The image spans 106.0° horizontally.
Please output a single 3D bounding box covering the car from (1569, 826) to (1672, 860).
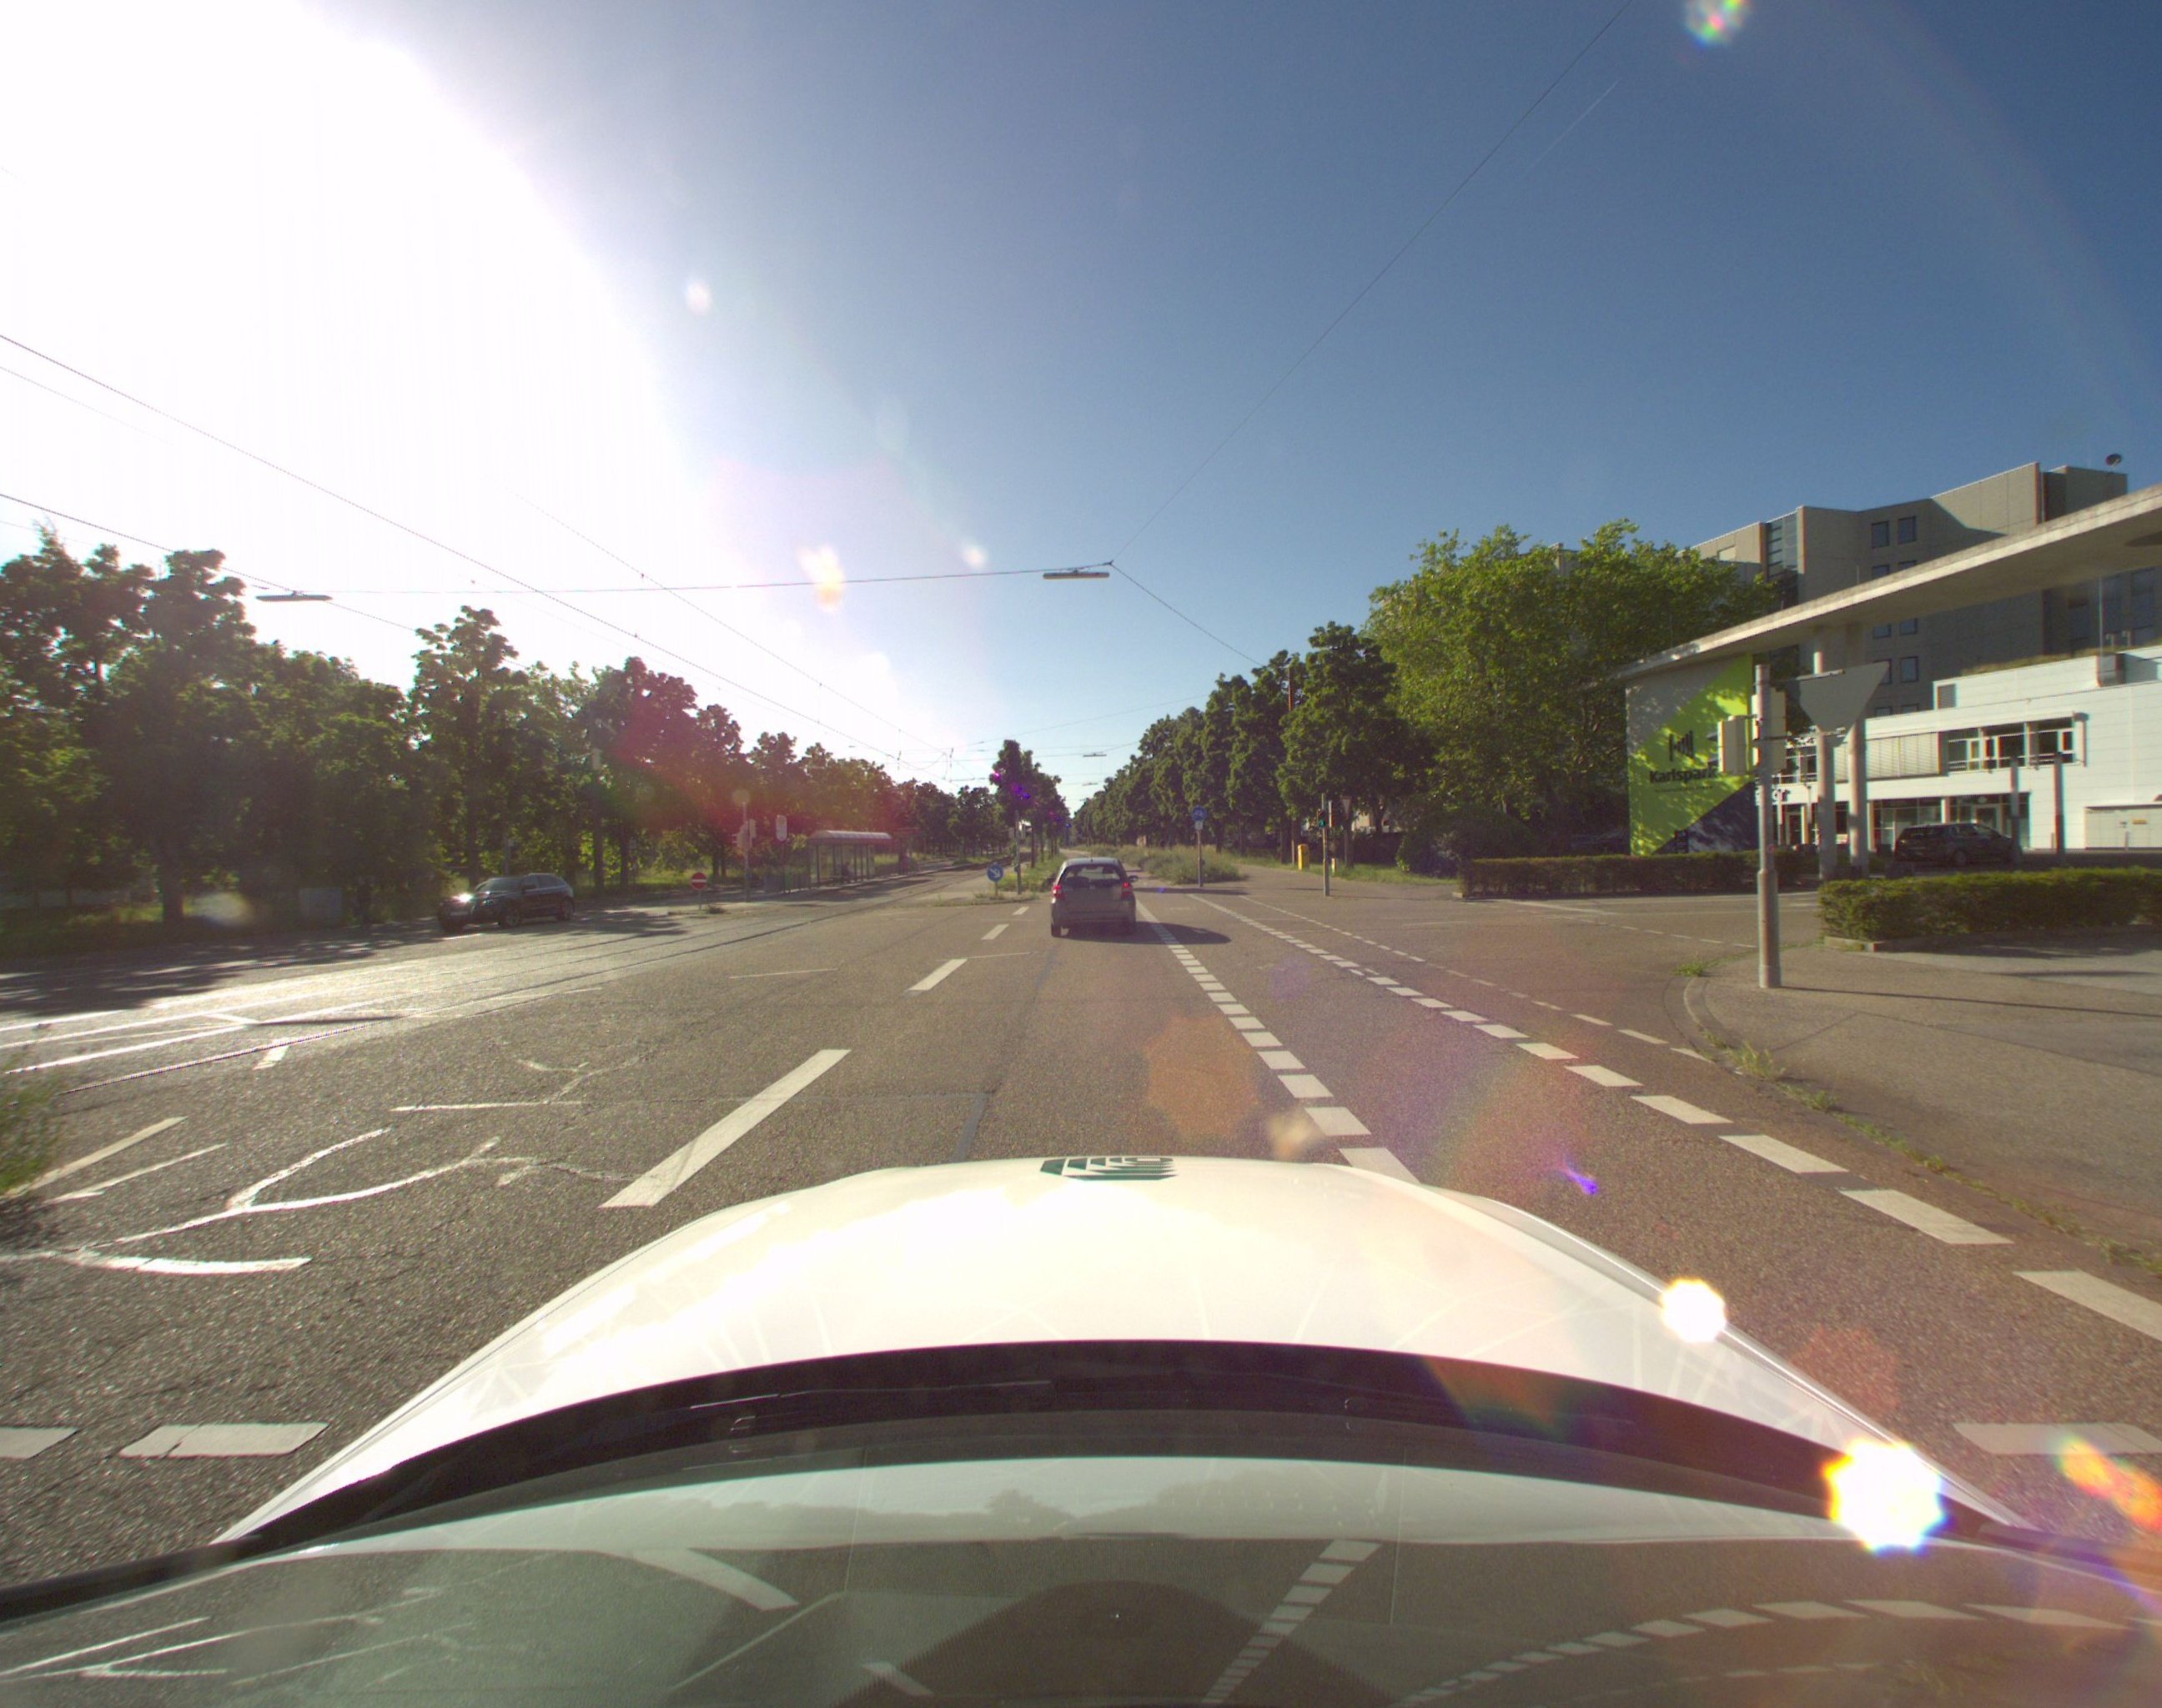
[{"bbox_3d":[29.491,-0.576,44.591,4.448,1.686,1.892,-2,0,-4],"label":"car"}]

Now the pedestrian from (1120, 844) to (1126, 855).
[{"bbox_3d":[6.685,-0.656,129.757,0.723,1.690,0.820,-2,-1,-1],"label":"pedestrian"}]

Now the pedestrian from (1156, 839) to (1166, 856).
[{"bbox_3d":[8.933,-0.722,90.728,0.880,1.884,0.875,-2,0,-2],"label":"pedestrian"}]

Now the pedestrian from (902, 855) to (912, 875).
[{"bbox_3d":[-13.016,0.833,61.001,0.542,1.447,0.559,-3,-1,1],"label":"pedestrian"}]

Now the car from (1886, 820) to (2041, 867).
[{"bbox_3d":[32.606,-0.392,30.141,3.984,1.578,1.949,-2,0,-8],"label":"car"}]

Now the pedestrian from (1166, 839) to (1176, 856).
[{"bbox_3d":[10.005,-0.741,90.731,0.880,1.884,0.875,-2,0,-2],"label":"pedestrian"}]

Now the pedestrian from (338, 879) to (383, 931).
[{"bbox_3d":[-25.418,1.792,28.746,0.751,1.734,0.943,-2,0,30],"label":"pedestrian"}]

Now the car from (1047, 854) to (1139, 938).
[{"bbox_3d":[0.282,0.803,17.048,1.694,1.524,3.710,-1,-1,2],"label":"car"}]

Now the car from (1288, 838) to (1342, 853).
[{"bbox_3d":[23.204,-0.817,80.866,4.625,1.327,2.105,-2,0,36],"label":"car"}]

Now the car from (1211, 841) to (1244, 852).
[{"bbox_3d":[22.430,-1.169,124.730,4.623,1.555,1.997,-2,0,-5],"label":"car"}]

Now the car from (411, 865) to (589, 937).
[{"bbox_3d":[-18.168,1.394,25.844,2.087,1.810,4.792,-4,1,0],"label":"car"}]

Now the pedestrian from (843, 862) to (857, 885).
[{"bbox_3d":[-13.173,1.088,46.429,0.562,1.257,0.581,-4,-1,0],"label":"pedestrian"}]
